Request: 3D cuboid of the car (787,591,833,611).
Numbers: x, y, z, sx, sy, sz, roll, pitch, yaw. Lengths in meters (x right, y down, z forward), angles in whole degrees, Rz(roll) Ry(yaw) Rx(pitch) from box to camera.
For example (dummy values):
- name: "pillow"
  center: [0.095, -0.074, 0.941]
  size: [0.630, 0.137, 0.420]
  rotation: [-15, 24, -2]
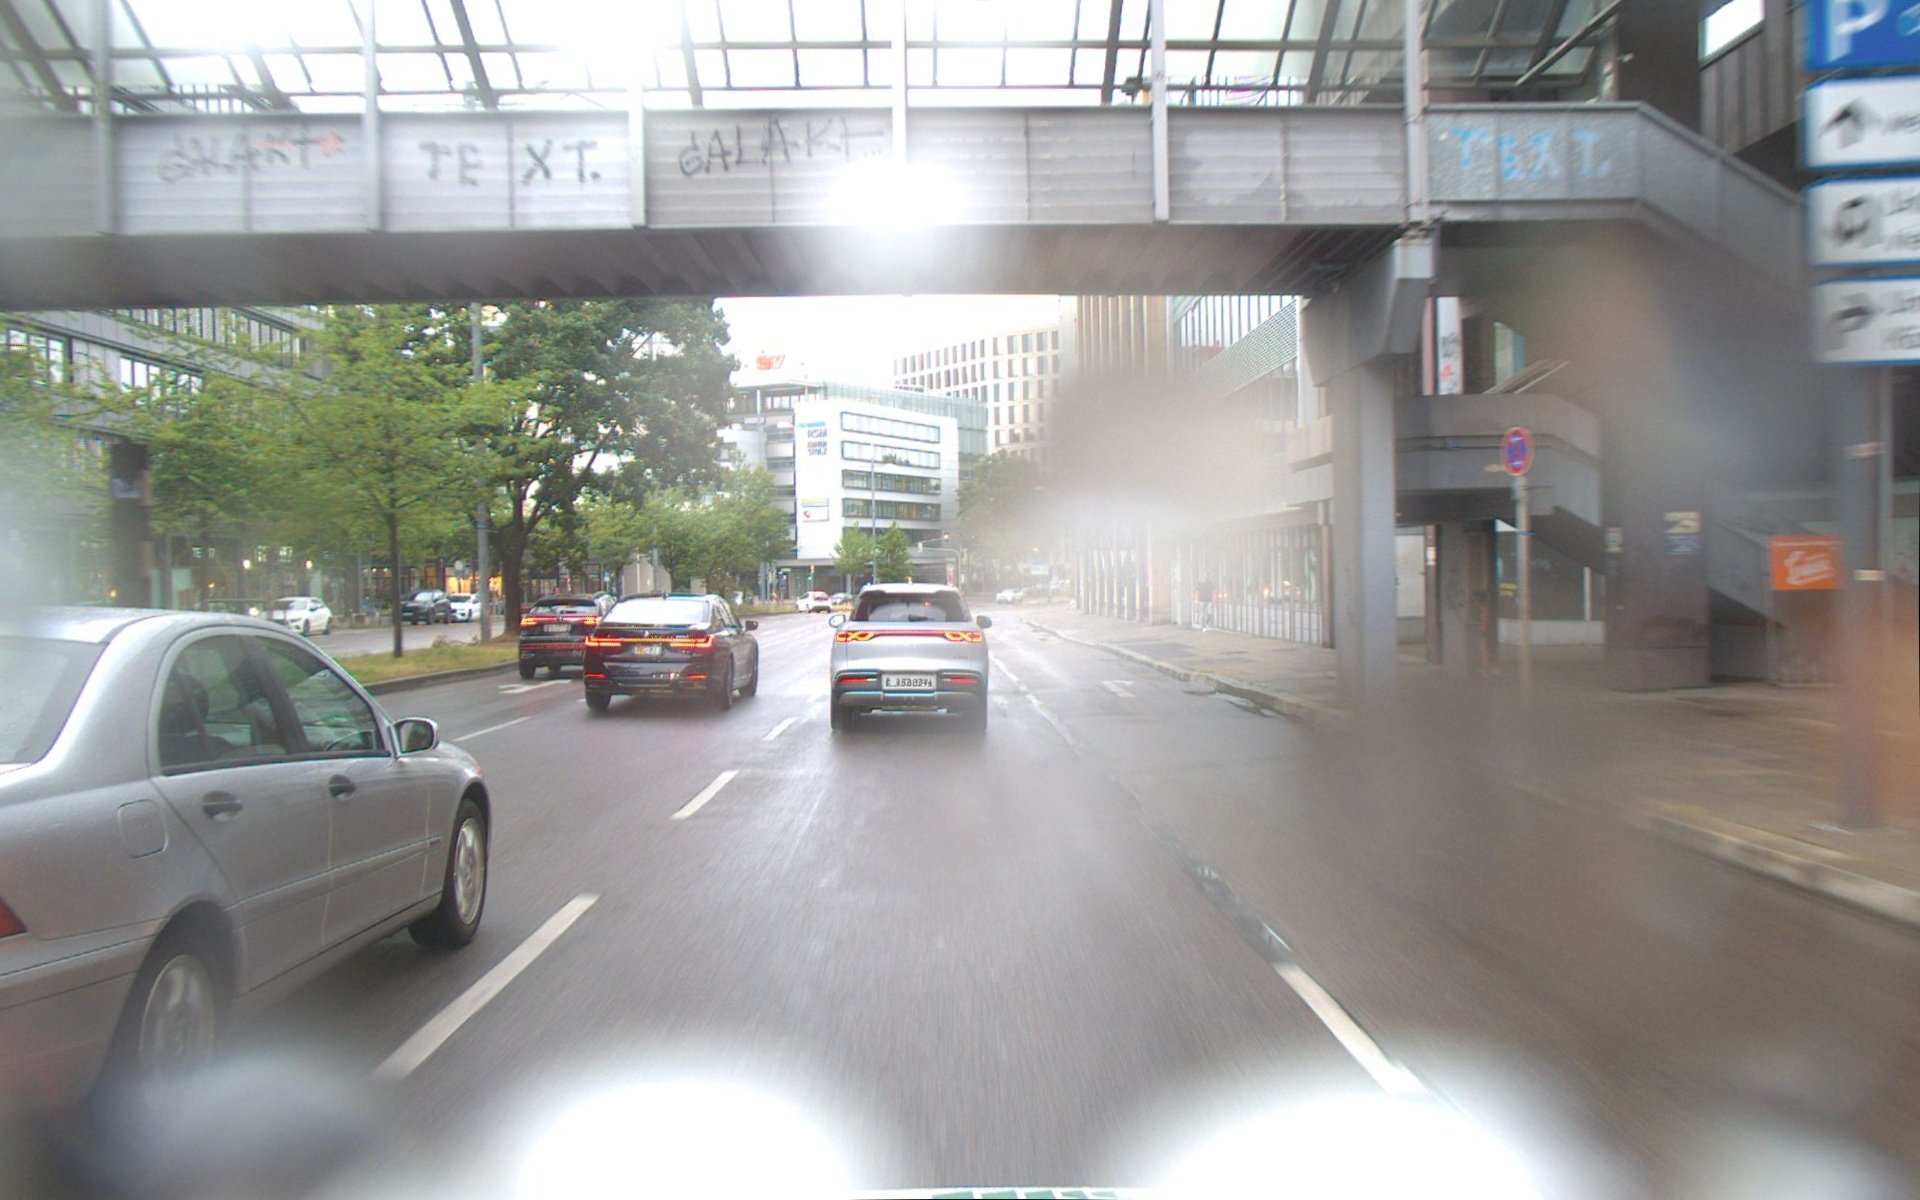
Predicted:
- name: "car"
  center: [-10.748, 0.045, 118.524]
  size: [1.639, 1.365, 3.953]
  rotation: [-1, 0, -34]

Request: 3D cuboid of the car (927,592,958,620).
- name: "car"
  center: [-1.081, 0.361, 101.237]
  size: [1.775, 1.606, 3.998]
  rotation: [-1, 0, -3]

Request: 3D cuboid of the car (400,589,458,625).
- name: "car"
  center: [-25.324, 0.313, 79.012]
  size: [1.591, 1.639, 4.230]
  rotation: [0, 0, -3]

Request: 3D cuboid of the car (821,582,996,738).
- name: "car"
  center: [-0.590, 0.639, 19.769]
  size: [1.862, 1.650, 3.999]
  rotation: [-1, 0, -1]

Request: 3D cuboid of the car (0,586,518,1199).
- name: "car"
  center: [-2.804, 0.736, 5.332]
  size: [1.638, 1.505, 4.359]
  rotation: [0, 0, -1]

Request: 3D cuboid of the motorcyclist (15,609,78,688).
- name: "motorcyclist"
  center: [-17.260, 0.904, 31.258]
  size: [0.625, 1.443, 0.970]
  rotation: [-2, 0, -1]

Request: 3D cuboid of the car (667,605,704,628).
- name: "car"
  center: [-19.151, 1.132, 115.568]
  size: [1.589, 1.518, 4.308]
  rotation: [-2, 0, 3]

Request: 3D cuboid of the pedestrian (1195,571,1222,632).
- name: "pedestrian"
  center: [7.564, 0.045, 50.347]
  size: [0.622, 1.803, 0.789]
  rotation: [-1, -1, -1]

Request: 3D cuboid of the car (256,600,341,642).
- name: "car"
  center: [-24.888, 0.771, 62.371]
  size: [1.591, 1.458, 4.443]
  rotation: [-2, 0, -3]

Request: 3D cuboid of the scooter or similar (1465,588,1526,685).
- name: "scooter or similar"
  center: [7.282, 0.476, 22.527]
  size: [0.342, 1.277, 1.394]
  rotation: [-1, 0, -1]

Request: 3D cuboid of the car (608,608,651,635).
- name: "car"
  center: [-17.173, 1.091, 86.125]
  size: [1.591, 1.334, 3.616]
  rotation: [-2, 0, -2]

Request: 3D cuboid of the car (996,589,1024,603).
- name: "car"
  center: [5.597, -0.471, 185.028]
  size: [1.551, 1.565, 3.994]
  rotation: [-1, 0, 29]

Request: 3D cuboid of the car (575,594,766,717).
- name: "car"
  center: [-3.865, 0.679, 22.866]
  size: [1.834, 1.505, 4.877]
  rotation: [-1, 0, -1]

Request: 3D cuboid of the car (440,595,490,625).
- name: "car"
  center: [-25.462, 0.485, 85.163]
  size: [1.591, 1.486, 3.961]
  rotation: [0, 0, -3]

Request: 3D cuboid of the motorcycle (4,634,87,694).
- name: "motorcycle"
  center: [-17.258, 1.187, 31.250]
  size: [0.572, 1.039, 1.805]
  rotation: [-1, 0, -1]

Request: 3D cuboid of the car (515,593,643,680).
- name: "car"
  center: [-7.056, 0.647, 30.950]
  size: [1.739, 1.482, 3.996]
  rotation: [-2, 0, -5]
